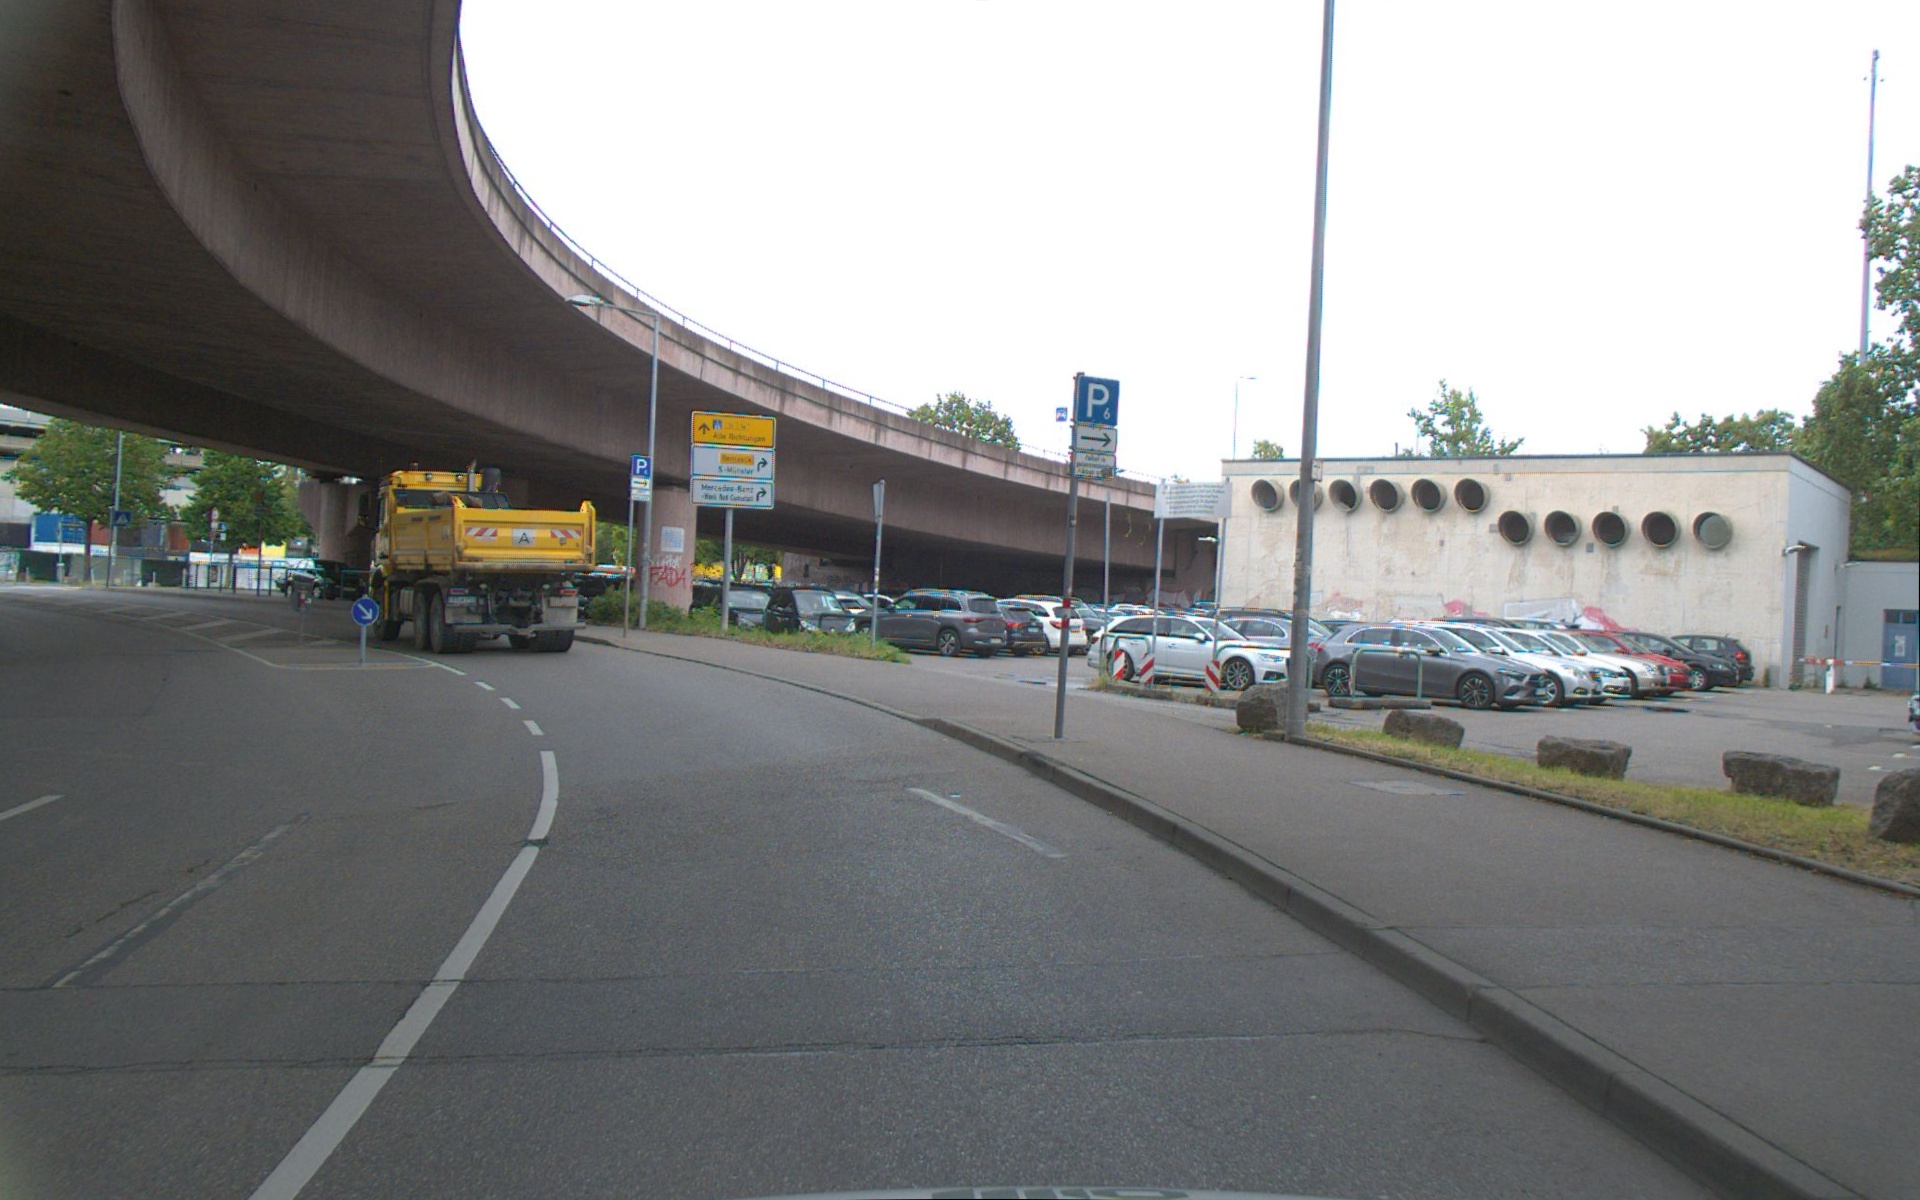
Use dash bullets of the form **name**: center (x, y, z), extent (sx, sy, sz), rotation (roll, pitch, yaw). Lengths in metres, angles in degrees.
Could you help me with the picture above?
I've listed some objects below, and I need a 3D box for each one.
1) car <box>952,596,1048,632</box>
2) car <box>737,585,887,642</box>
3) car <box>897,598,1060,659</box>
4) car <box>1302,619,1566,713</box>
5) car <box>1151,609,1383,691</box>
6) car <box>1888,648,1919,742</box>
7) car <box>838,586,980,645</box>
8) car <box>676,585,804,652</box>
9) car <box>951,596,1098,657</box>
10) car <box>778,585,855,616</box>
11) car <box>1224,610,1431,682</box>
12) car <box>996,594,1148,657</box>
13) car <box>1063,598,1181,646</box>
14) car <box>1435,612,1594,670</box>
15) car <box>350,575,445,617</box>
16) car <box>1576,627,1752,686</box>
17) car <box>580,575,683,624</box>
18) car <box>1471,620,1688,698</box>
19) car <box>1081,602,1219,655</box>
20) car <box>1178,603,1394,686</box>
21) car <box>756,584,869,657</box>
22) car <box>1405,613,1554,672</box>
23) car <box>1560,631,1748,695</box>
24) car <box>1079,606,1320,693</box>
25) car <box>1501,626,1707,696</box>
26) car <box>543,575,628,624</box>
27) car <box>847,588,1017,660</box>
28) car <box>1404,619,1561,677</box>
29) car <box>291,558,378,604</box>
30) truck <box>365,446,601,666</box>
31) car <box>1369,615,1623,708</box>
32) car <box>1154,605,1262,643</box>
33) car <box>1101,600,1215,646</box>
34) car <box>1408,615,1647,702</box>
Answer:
- **car**: center (1.838, 0.638, 76.375), extent (4.109, 1.491, 1.831), rotation (2, 0, 37)
- **car**: center (-4.274, 0.376, 47.522), extent (4.109, 1.446, 1.831), rotation (2, 0, 37)
- **car**: center (0.487, 0.787, 46.445), extent (4.371, 1.474, 1.749), rotation (2, 0, 37)
- **car**: center (8.795, 1.191, 30.862), extent (4.359, 1.450, 1.830), rotation (3, 0, 39)
- **car**: center (6.633, 1.051, 35.977), extent (4.596, 1.501, 1.850), rotation (3, 0, 37)
- **car**: center (16.502, 1.536, 24.781), extent (4.281, 1.408, 1.766), rotation (2, 0, 40)
- **car**: center (-1.597, 0.479, 51.108), extent (4.109, 1.620, 1.831), rotation (2, 0, 37)
- **car**: center (-5.543, 0.426, 41.263), extent (1.711, 1.505, 4.208), rotation (2, 0, -29)
- **car**: center (1.862, 0.775, 48.623), extent (4.007, 1.584, 1.750), rotation (2, 0, 37)
- **car**: center (-7.750, 0.017, 89.348), extent (3.778, 1.504, 1.754), rotation (2, 0, 30)
- **car**: center (8.869, 1.079, 40.104), extent (4.531, 1.469, 1.850), rotation (3, 0, 37)
- **car**: center (3.381, 0.771, 50.492), extent (4.345, 1.720, 1.749), rotation (2, 0, 37)
- **car**: center (6.202, 0.843, 63.376), extent (4.109, 1.620, 1.831), rotation (2, 0, 37)
- **car**: center (17.361, 1.270, 51.871), extent (4.401, 1.559, 1.762), rotation (3, 0, 37)
- **car**: center (-23.334, -0.175, 68.613), extent (3.928, 1.579, 1.634), rotation (2, 0, 33)
- **car**: center (20.416, 1.619, 48.036), extent (4.359, 1.450, 1.830), rotation (3, 0, 39)
- **car**: center (-12.812, -0.012, 64.501), extent (3.786, 1.728, 1.831), rotation (2, 0, 37)
- **car**: center (14.516, 1.356, 38.881), extent (4.417, 1.540, 1.830), rotation (3, 0, 39)
- **car**: center (6.193, 0.914, 54.131), extent (4.177, 1.535, 1.702), rotation (2, 0, 37)
- **car**: center (7.493, 0.994, 38.273), extent (4.531, 1.656, 1.850), rotation (3, 0, 37)
- **car**: center (-3.361, 0.448, 37.320), extent (1.523, 1.505, 2.734), rotation (2, 0, -30)
- **car**: center (15.639, 1.263, 49.902), extent (3.899, 1.559, 1.762), rotation (3, 0, 37)
- **car**: center (18.758, 1.676, 44.789), extent (4.359, 1.450, 1.830), rotation (3, 0, 39)
- **car**: center (4.878, 0.974, 34.023), extent (4.599, 1.501, 1.849), rotation (3, 0, 39)
- **car**: center (15.856, 1.478, 40.823), extent (4.359, 1.450, 1.830), rotation (3, 0, 39)
- **car**: center (-12.972, 0.003, 57.152), extent (1.767, 1.533, 3.819), rotation (4, -2, -30)
- **car**: center (-0.785, 0.613, 44.253), extent (4.382, 1.704, 1.738), rotation (2, 0, 37)
- **car**: center (14.978, 1.366, 47.491), extent (3.899, 1.417, 1.762), rotation (3, 0, 37)
- **car**: center (-22.117, -0.681, 58.471), extent (1.598, 1.421, 3.523), rotation (5, -2, -43)
- **truck**: center (-9.540, -0.823, 32.391), extent (2.729, 3.763, 7.802), rotation (0, 1, -30)
- **car**: center (10.588, 1.172, 32.859), extent (4.417, 1.540, 1.830), rotation (3, 0, 39)
- **car**: center (10.485, 1.019, 70.010), extent (4.109, 1.433, 1.831), rotation (2, 0, 37)
- **car**: center (7.842, 0.906, 65.597), extent (4.109, 1.620, 1.831), rotation (2, 0, 37)
- **car**: center (12.010, 1.204, 35.158), extent (4.417, 1.540, 1.830), rotation (3, 0, 39)
